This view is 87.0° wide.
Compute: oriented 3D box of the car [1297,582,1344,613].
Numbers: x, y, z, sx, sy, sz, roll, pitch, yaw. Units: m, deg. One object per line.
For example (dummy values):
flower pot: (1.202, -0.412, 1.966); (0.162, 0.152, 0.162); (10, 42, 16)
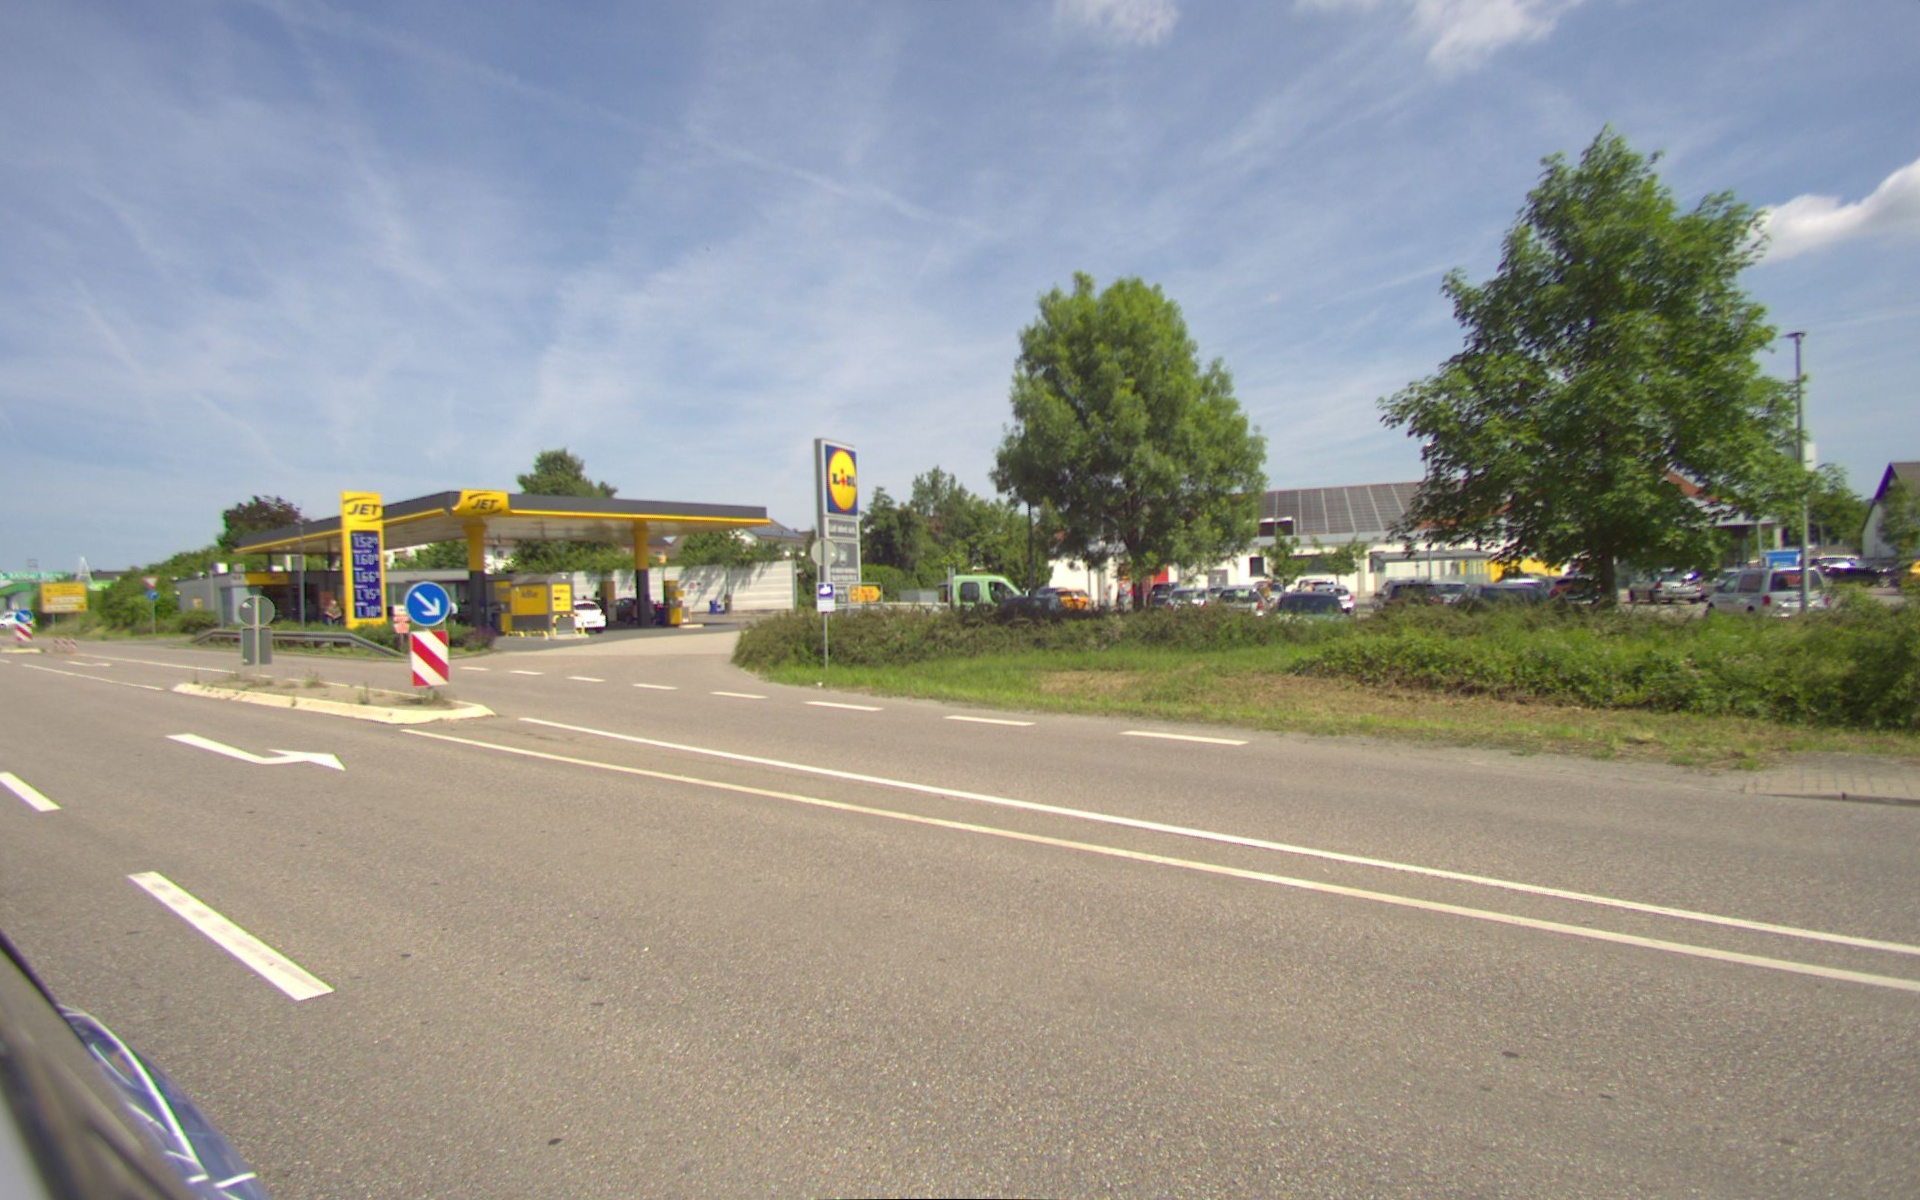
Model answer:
car: (17.962, -0.135, 50.562); (1.868, 1.453, 3.981); (-1, 1, 15)

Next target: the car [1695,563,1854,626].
car: (24.224, -0.139, 30.322); (1.981, 1.708, 4.408); (-1, 0, 14)

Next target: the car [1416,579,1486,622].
car: (18.336, 0.016, 37.927); (1.764, 1.540, 3.977); (-1, 0, 17)

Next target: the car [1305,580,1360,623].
car: (14.279, 0.051, 38.932); (1.764, 1.540, 3.977); (-1, 0, 17)

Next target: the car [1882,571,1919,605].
car: (45.130, -0.568, 46.082); (4.223, 1.553, 1.869); (0, 0, 18)

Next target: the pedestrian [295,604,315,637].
pedestrian: (-38.182, 1.197, 58.968); (0.639, 1.852, 0.788); (-2, 0, 41)

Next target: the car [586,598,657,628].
car: (-19.316, 0.718, 57.764); (3.862, 1.625, 1.735); (-2, -1, 31)

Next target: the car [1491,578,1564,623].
car: (20.591, -0.003, 36.852); (1.767, 1.540, 3.972); (-1, 0, 21)

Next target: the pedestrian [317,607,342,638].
pedestrian: (-29.844, 1.051, 47.928); (0.494, 1.438, 0.903); (-1, 0, 42)

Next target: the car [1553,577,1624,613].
car: (28.473, -0.206, 45.987); (1.865, 1.553, 4.231); (-1, 0, 20)

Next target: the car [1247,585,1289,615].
car: (15.557, -0.019, 51.258); (1.868, 1.453, 3.981); (-1, 1, 15)

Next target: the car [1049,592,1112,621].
car: (6.520, 0.317, 54.309); (1.879, 1.453, 3.958); (-1, 1, 31)

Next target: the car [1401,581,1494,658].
car: (11.427, 0.417, 23.939); (1.683, 1.670, 3.971); (-1, 0, 22)

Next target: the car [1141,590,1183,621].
car: (10.474, 0.264, 52.285); (1.868, 1.453, 3.981); (-1, 1, 15)

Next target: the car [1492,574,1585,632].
car: (18.216, 0.076, 32.051); (1.912, 1.701, 3.973); (-1, 0, 20)

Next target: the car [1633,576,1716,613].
car: (31.506, -0.248, 44.755); (1.865, 1.553, 4.231); (-1, 0, 20)

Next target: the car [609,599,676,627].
car: (-19.750, 0.818, 62.896); (3.858, 1.625, 1.737); (-1, -1, 28)

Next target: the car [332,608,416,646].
car: (-27.718, 1.285, 47.826); (4.258, 1.719, 1.975); (-2, -1, 38)

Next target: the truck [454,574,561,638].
truck: (-22.101, 0.297, 49.313); (6.278, 2.944, 2.222); (0, 0, 40)

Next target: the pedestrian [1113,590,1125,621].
pedestrian: (7.938, 0.274, 50.567); (0.502, 1.564, 0.514); (-1, 0, 19)

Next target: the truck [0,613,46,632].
truck: (-112.505, 2.703, 120.891); (1.998, 2.024, 4.713); (-1, 0, 39)

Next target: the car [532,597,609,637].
car: (-17.759, 0.811, 46.074); (4.001, 1.741, 1.713); (-2, -3, 44)

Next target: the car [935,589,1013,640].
car: (0.598, 0.511, 38.718); (1.865, 1.825, 4.145); (-1, 0, 17)

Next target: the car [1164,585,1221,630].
car: (9.343, 0.263, 40.477); (1.850, 1.688, 4.399); (-1, 0, 17)

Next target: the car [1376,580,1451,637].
car: (14.671, 0.231, 32.933); (1.898, 1.687, 3.974); (-1, 1, 20)

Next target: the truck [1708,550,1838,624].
truck: (27.878, -0.437, 34.883); (1.981, 2.383, 3.982); (-1, 0, 14)

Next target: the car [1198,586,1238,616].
car: (13.319, 0.009, 52.226); (1.868, 1.453, 3.981); (-1, 1, 15)

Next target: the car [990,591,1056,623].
car: (3.429, 0.342, 54.500); (1.765, 1.551, 3.956); (-2, 0, 33)

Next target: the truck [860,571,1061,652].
truck: (0.057, 0.365, 32.753); (6.268, 2.393, 2.246); (-1, -1, 4)

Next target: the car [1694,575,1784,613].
car: (33.922, -0.252, 44.211); (1.865, 1.553, 4.231); (-1, 0, 20)

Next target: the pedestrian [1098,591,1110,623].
pedestrian: (7.175, 0.332, 50.381); (0.501, 1.564, 0.515); (-1, 0, 15)

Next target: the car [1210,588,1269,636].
car: (9.888, 0.389, 35.594); (1.769, 1.513, 4.122); (-1, 1, 18)
